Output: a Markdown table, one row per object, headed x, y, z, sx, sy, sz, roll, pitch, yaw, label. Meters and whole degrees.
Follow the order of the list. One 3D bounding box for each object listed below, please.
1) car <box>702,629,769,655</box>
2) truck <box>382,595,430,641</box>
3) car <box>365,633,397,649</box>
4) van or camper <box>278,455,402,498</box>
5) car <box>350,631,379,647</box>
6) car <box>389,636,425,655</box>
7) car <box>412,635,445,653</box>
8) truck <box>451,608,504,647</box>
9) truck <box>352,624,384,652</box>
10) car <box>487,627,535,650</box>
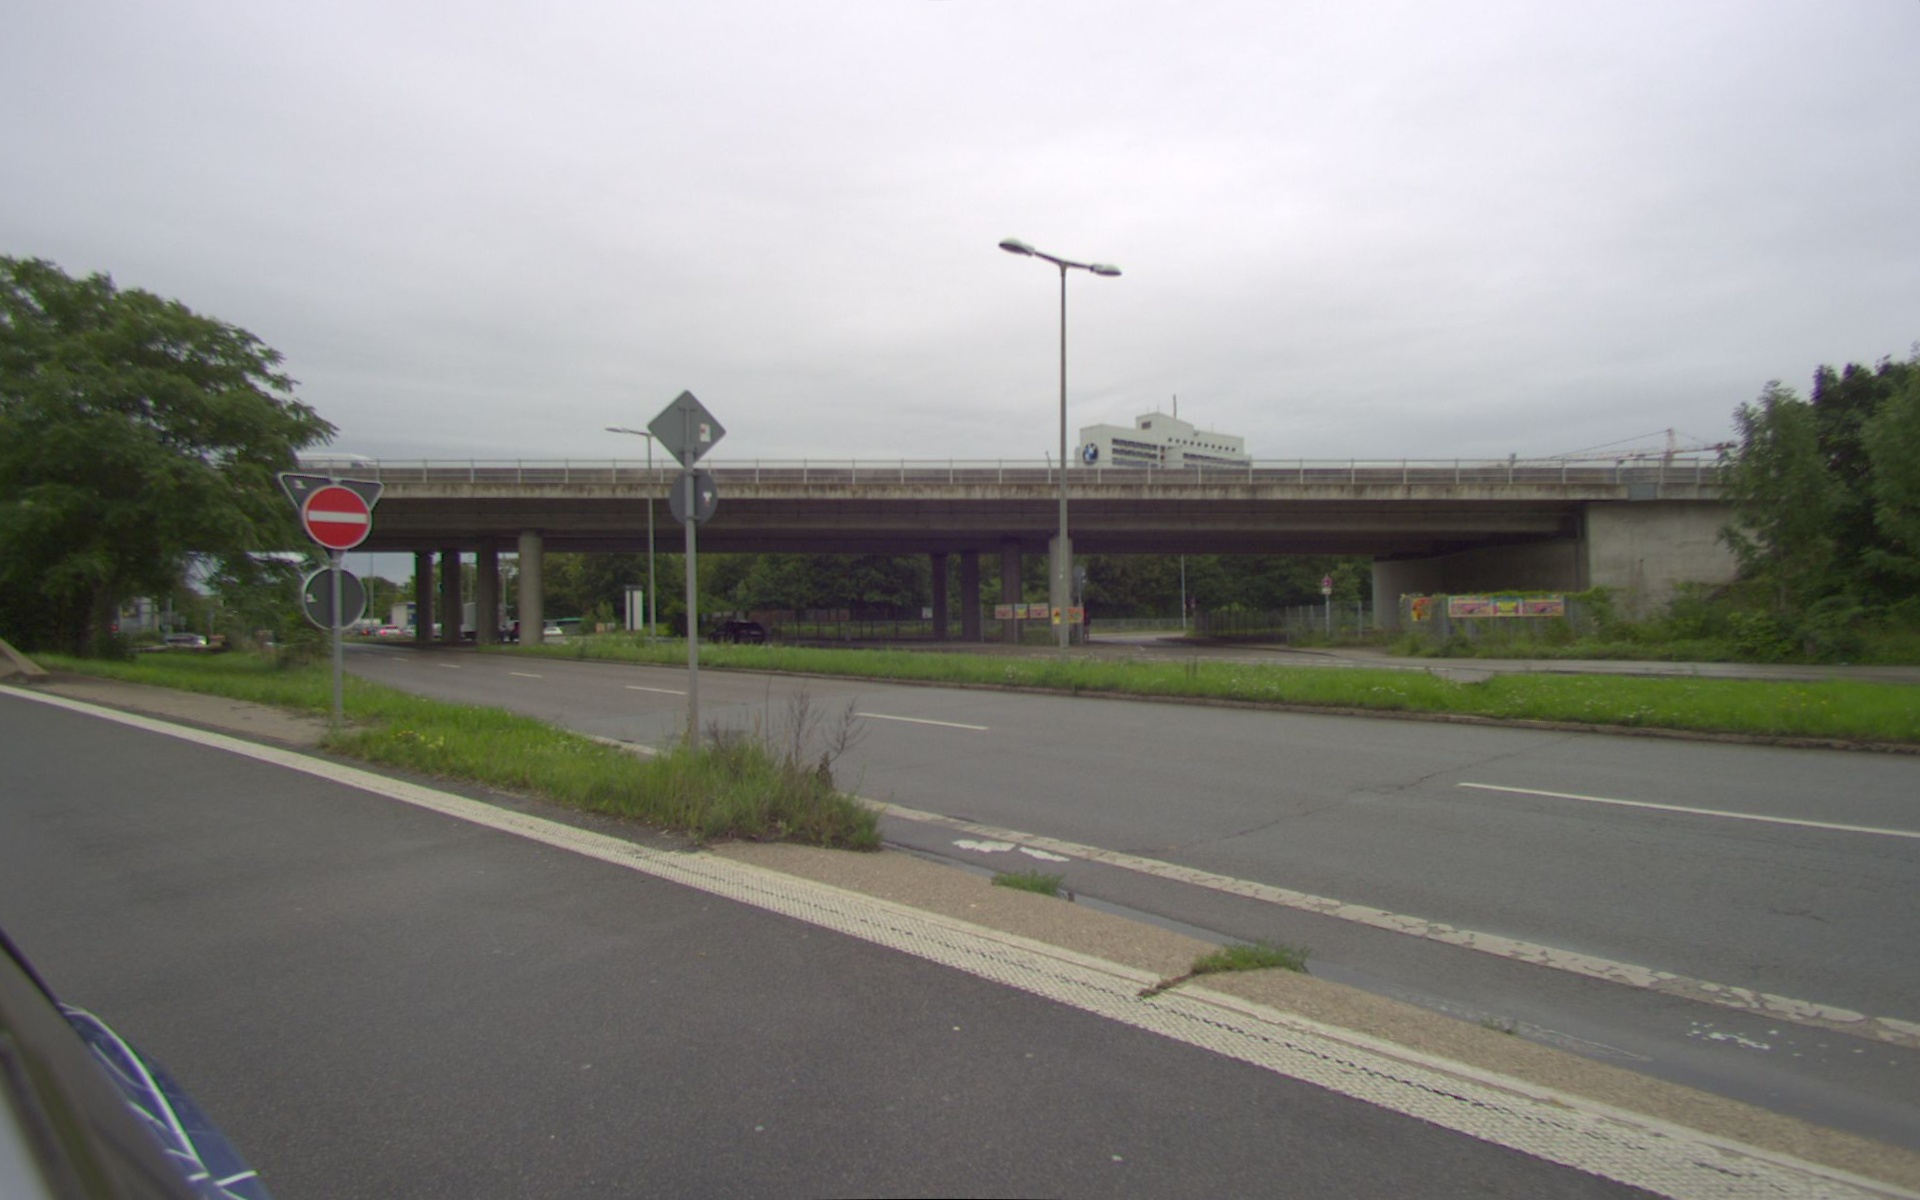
| x | y | z | sx | sy | sz | roll | pitch | yaw | label |
| --- | --- | --- | --- | --- | --- | --- | --- | --- | --- |
| -12.884 | 2.370 | 57.908 | 1.943 | 1.407 | 4.827 | 2 | -2 | -37 | car |
| -58.627 | 1.966 | 106.931 | 2.754 | 4.627 | 9.621 | 4 | -3 | -38 | truck |
| -58.003 | 4.097 | 101.367 | 1.944 | 1.595 | 4.598 | 4 | -3 | -40 | car |
| -34.171 | -6.785 | 55.905 | 5.431 | 2.029 | 2.331 | 0 | -1 | 1 | van or camper |
| -63.826 | 4.182 | 108.405 | 1.944 | 1.595 | 4.599 | 0 | -1 | -40 | car |
| -49.984 | 4.092 | 91.420 | 1.944 | 1.595 | 4.599 | 4 | -3 | -40 | car |
| -50.728 | 4.206 | 96.591 | 1.943 | 1.595 | 4.600 | 4 | -3 | -38 | car |
| -39.742 | 2.258 | 83.227 | 2.224 | 3.000 | 7.246 | 4 | -3 | -39 | truck |
| -80.472 | 5.135 | 137.483 | 2.754 | 3.708 | 6.657 | 4 | -3 | -38 | truck |
| -32.679 | 2.781 | 73.617 | 1.944 | 1.595 | 4.598 | 4 | -3 | -40 | car |
